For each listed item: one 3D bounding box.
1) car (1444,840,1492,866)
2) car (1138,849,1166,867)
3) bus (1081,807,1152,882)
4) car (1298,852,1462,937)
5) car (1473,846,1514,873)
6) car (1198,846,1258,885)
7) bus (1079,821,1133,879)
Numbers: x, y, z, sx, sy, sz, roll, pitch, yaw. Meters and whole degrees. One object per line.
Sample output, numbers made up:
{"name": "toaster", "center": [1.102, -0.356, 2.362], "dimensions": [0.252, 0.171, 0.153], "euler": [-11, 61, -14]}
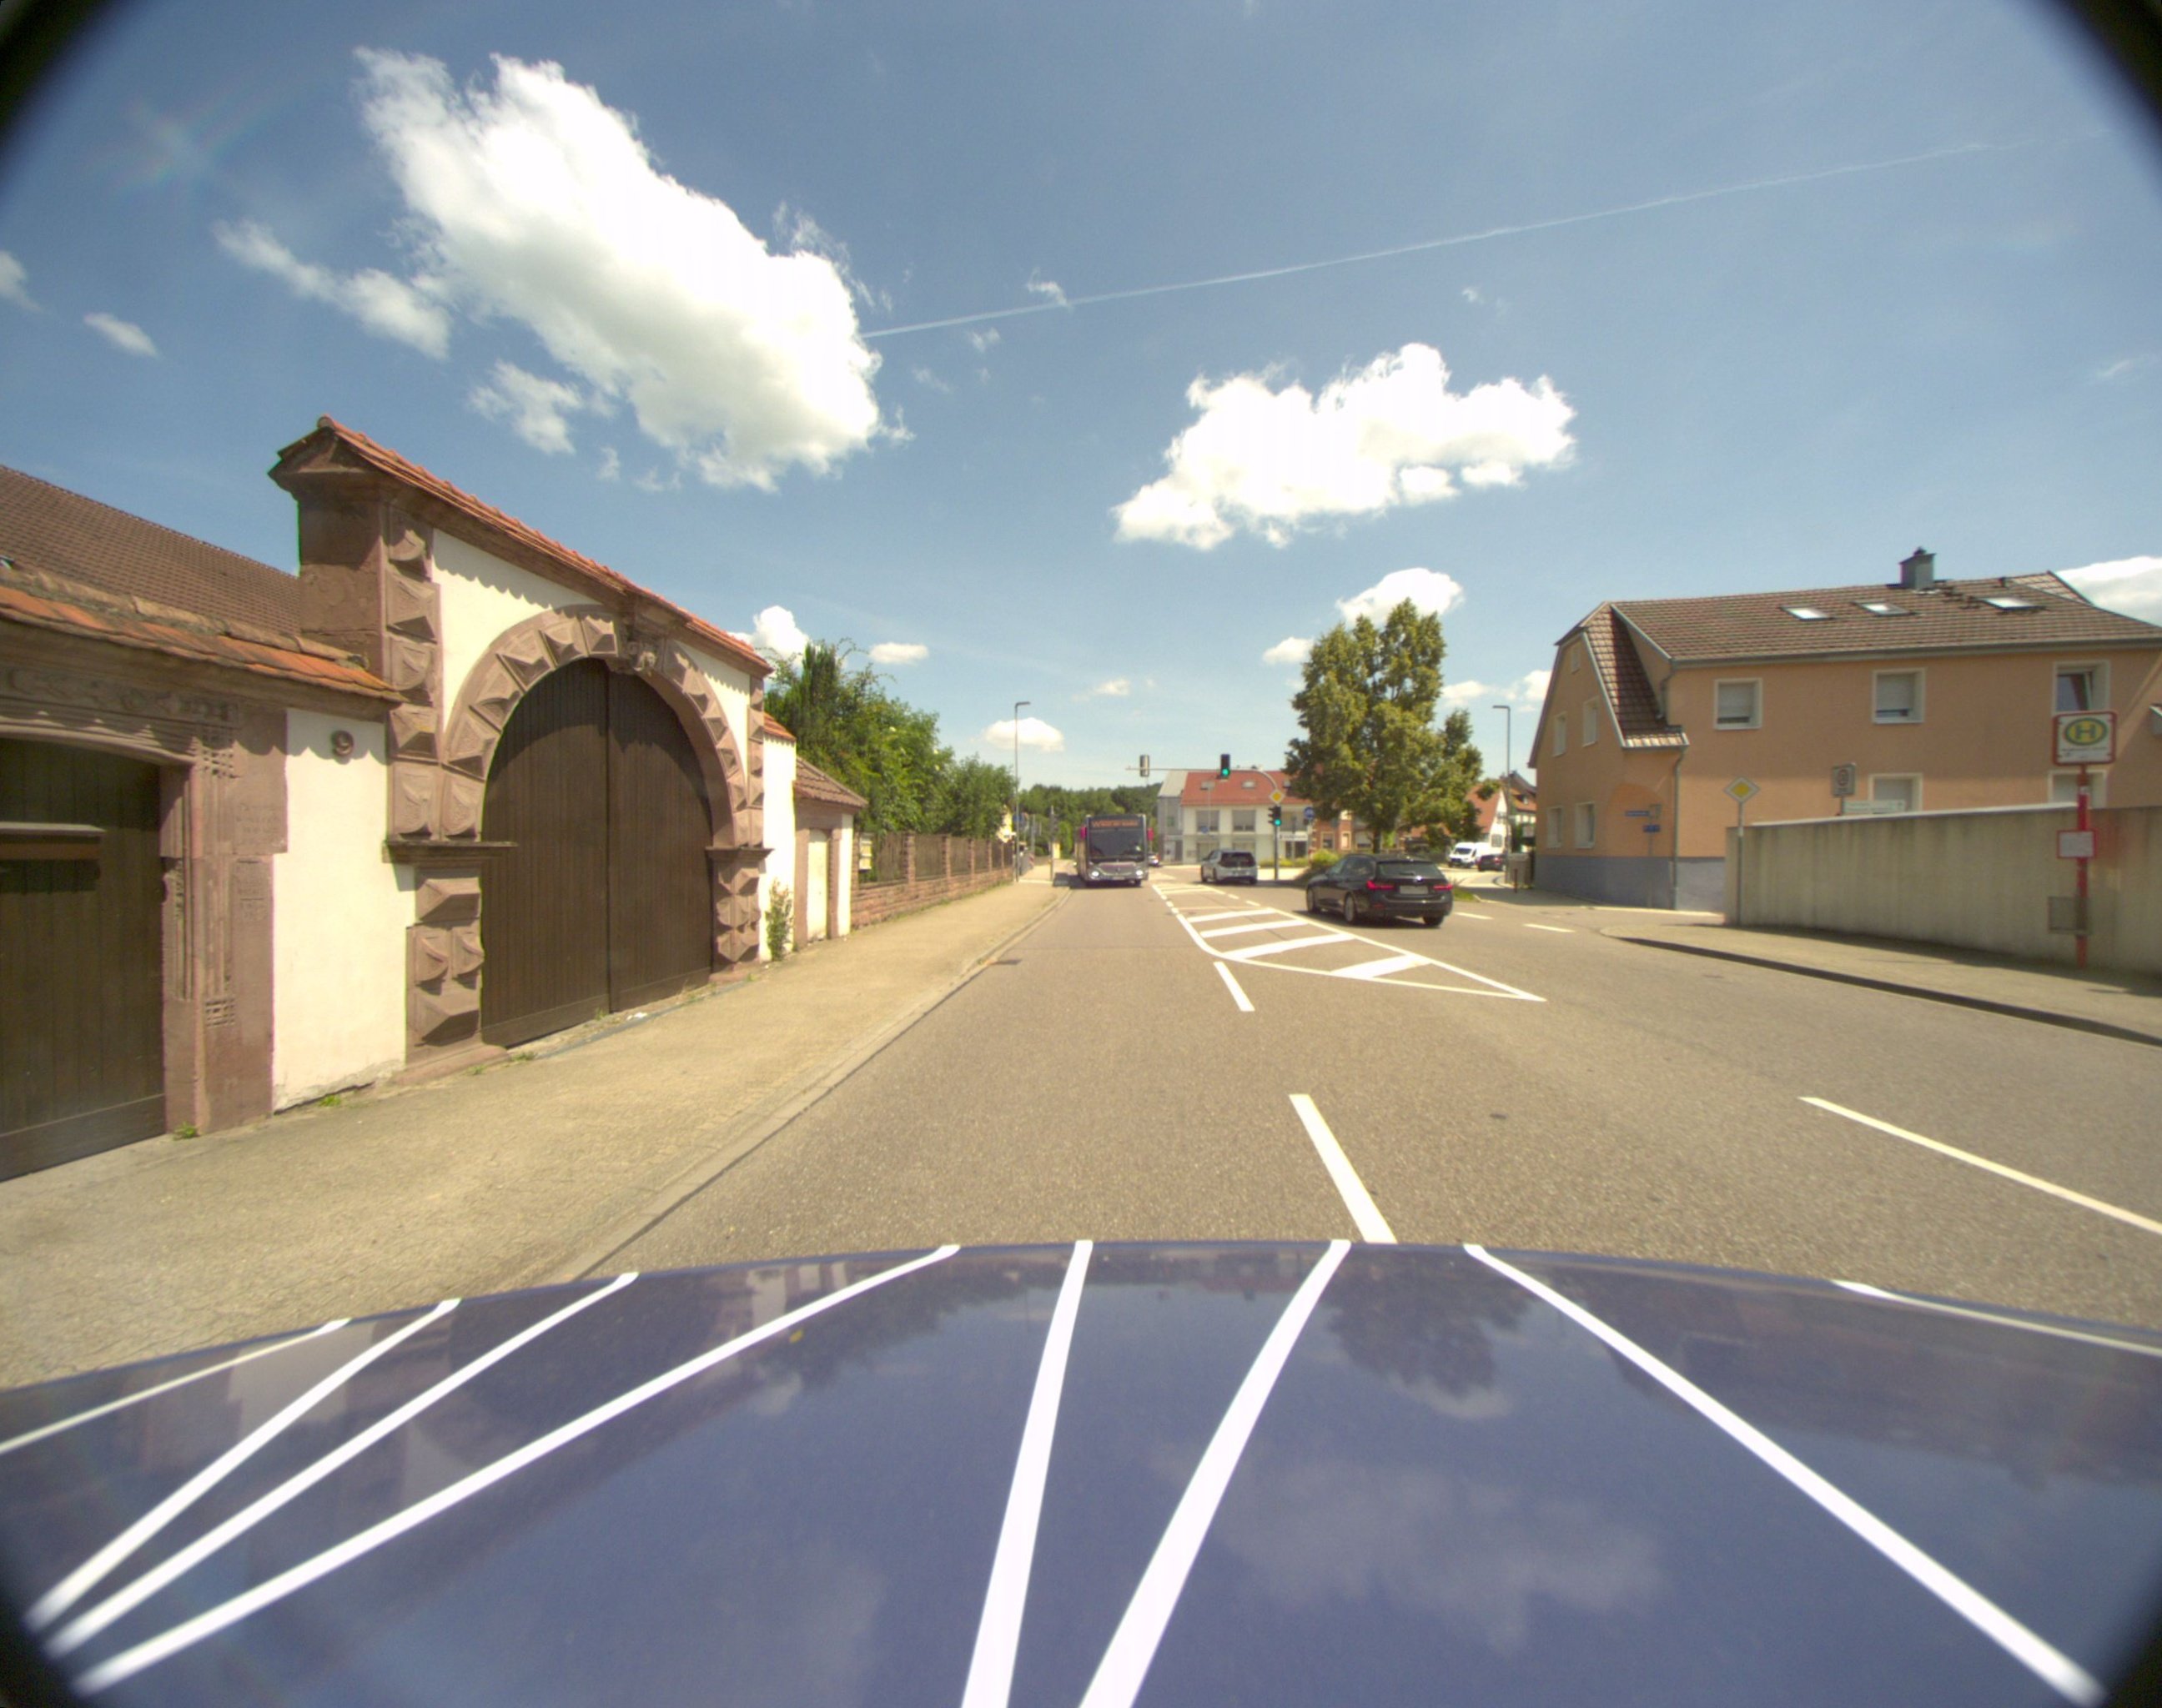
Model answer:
{"name": "car", "center": [37.007, -0.097, 72.574], "dimensions": [5.122, 2.332, 2.167], "euler": [0, 2, -40]}
{"name": "car", "center": [6.232, 0.332, 67.057], "dimensions": [1.868, 1.434, 4.215], "euler": [1, 1, -2]}
{"name": "bus", "center": [1.428, -0.290, 34.860], "dimensions": [2.755, 2.949, 9.282], "euler": [1, -1, 0]}
{"name": "car", "center": [6.215, 0.761, 16.399], "dimensions": [1.798, 1.484, 4.420], "euler": [1, 1, 1]}
{"name": "car", "center": [32.390, 0.417, 59.640], "dimensions": [1.994, 2.002, 4.009], "euler": [1, 1, 42]}
{"name": "car", "center": [6.358, 0.446, 33.188], "dimensions": [1.800, 1.499, 4.132], "euler": [1, 1, 0]}
{"name": "bus", "center": [1.290, -0.112, 44.202], "dimensions": [2.756, 2.949, 9.282], "euler": [1, -1, 0]}
